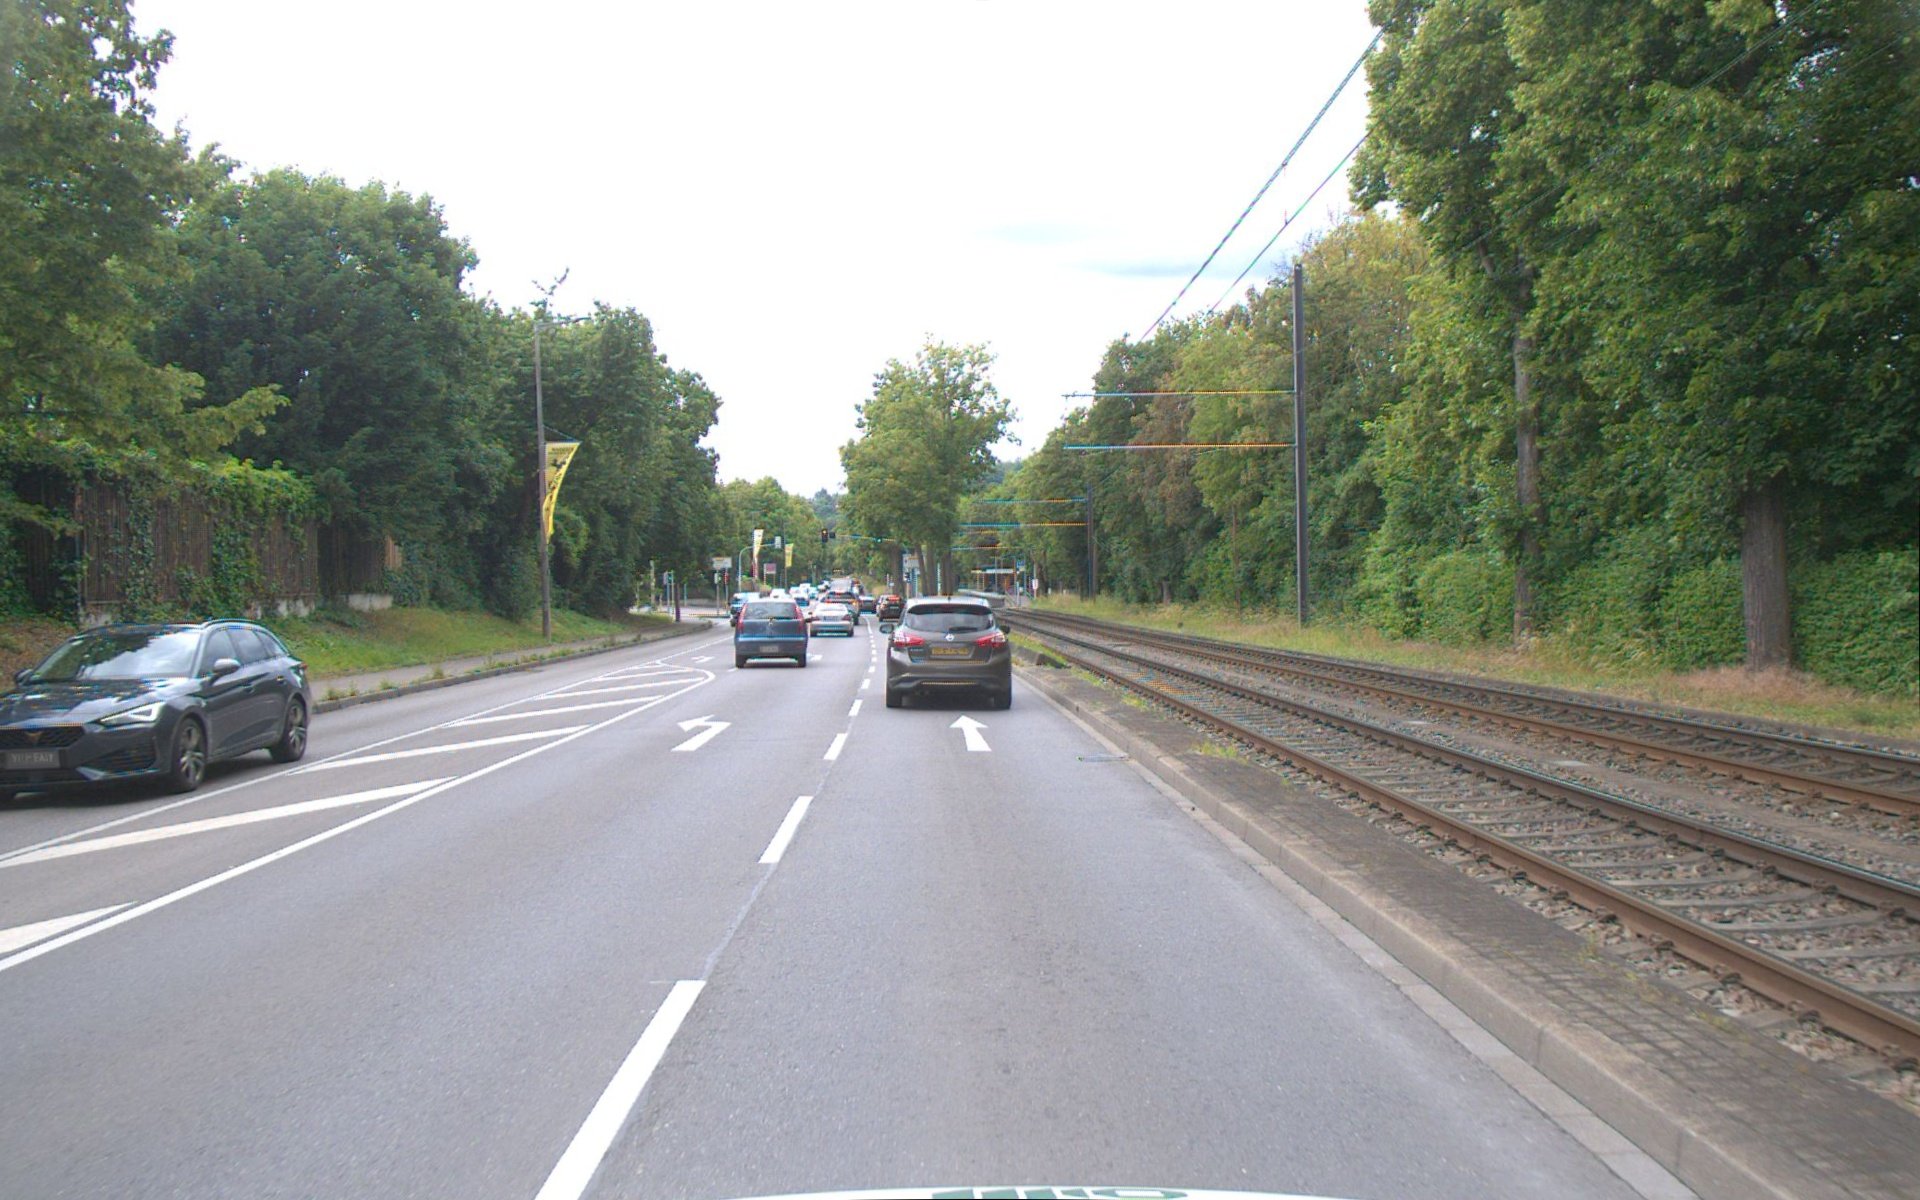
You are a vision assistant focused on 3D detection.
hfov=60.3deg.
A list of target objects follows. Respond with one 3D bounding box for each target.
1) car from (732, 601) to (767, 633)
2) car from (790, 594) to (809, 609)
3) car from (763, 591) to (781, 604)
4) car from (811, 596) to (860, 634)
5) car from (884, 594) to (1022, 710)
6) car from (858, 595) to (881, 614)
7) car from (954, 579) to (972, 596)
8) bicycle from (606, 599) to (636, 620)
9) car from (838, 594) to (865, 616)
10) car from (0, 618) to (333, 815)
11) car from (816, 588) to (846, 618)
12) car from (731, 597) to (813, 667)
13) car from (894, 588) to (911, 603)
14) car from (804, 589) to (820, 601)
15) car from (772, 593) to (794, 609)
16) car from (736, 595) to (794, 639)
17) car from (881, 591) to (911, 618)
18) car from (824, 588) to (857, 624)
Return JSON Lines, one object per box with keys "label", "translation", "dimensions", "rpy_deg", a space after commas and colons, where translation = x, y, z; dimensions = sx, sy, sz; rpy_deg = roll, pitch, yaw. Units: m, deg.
{"label": "car", "translation": [-12.181, 0.967, 95.828], "dimensions": [1.681, 1.791, 3.998], "rpy_deg": [0, 0, -2]}
{"label": "car", "translation": [-17.206, 0.128, 177.891], "dimensions": [1.680, 1.577, 3.999], "rpy_deg": [0, 0, -1]}
{"label": "car", "translation": [-22.007, -0.279, 193.296], "dimensions": [1.680, 1.577, 3.999], "rpy_deg": [0, 0, -1]}
{"label": "car", "translation": [-4.933, 0.598, 65.772], "dimensions": [1.680, 1.460, 3.999], "rpy_deg": [0, 0, -1]}
{"label": "car", "translation": [-0.099, 0.685, 24.020], "dimensions": [1.813, 1.519, 4.000], "rpy_deg": [1, 0, 0]}
{"label": "car", "translation": [-7.358, 0.367, 135.095], "dimensions": [1.680, 1.577, 3.999], "rpy_deg": [0, 0, -1]}
{"label": "car", "translation": [0.275, -1.229, 163.940], "dimensions": [1.681, 1.692, 3.705], "rpy_deg": [0, 0, -2]}
{"label": "bicycle", "translation": [-18.221, 0.515, 88.907], "dimensions": [0.489, 1.127, 1.797], "rpy_deg": [-1, 0, 30]}
{"label": "car", "translation": [-7.744, 0.332, 117.883], "dimensions": [1.758, 1.537, 3.999], "rpy_deg": [-1, 0, -2]}
{"label": "car", "translation": [-7.377, 0.948, 15.134], "dimensions": [1.805, 1.399, 4.444], "rpy_deg": [-3, 0, -4]}
{"label": "car", "translation": [-8.384, 0.221, 107.622], "dimensions": [1.680, 1.896, 3.999], "rpy_deg": [0, 0, -1]}
{"label": "car", "translation": [-4.196, 0.675, 37.380], "dimensions": [1.666, 1.469, 3.997], "rpy_deg": [0, 0, -4]}
{"label": "car", "translation": [-6.088, -0.500, 175.190], "dimensions": [1.680, 1.577, 3.999], "rpy_deg": [0, 0, -1]}
{"label": "car", "translation": [-18.979, -0.620, 211.956], "dimensions": [1.680, 1.577, 3.999], "rpy_deg": [0, 0, -1]}
{"label": "car", "translation": [-17.006, 0.101, 158.709], "dimensions": [1.680, 1.577, 3.999], "rpy_deg": [0, 0, -1]}
{"label": "car", "translation": [-6.794, 0.590, 57.967], "dimensions": [1.681, 1.460, 3.998], "rpy_deg": [0, 0, -2]}
{"label": "car", "translation": [-3.782, 0.257, 98.299], "dimensions": [1.680, 1.577, 3.999], "rpy_deg": [0, 0, -1]}
{"label": "car", "translation": [-6.473, 0.354, 89.788], "dimensions": [1.681, 1.896, 3.997], "rpy_deg": [0, 0, -3]}
